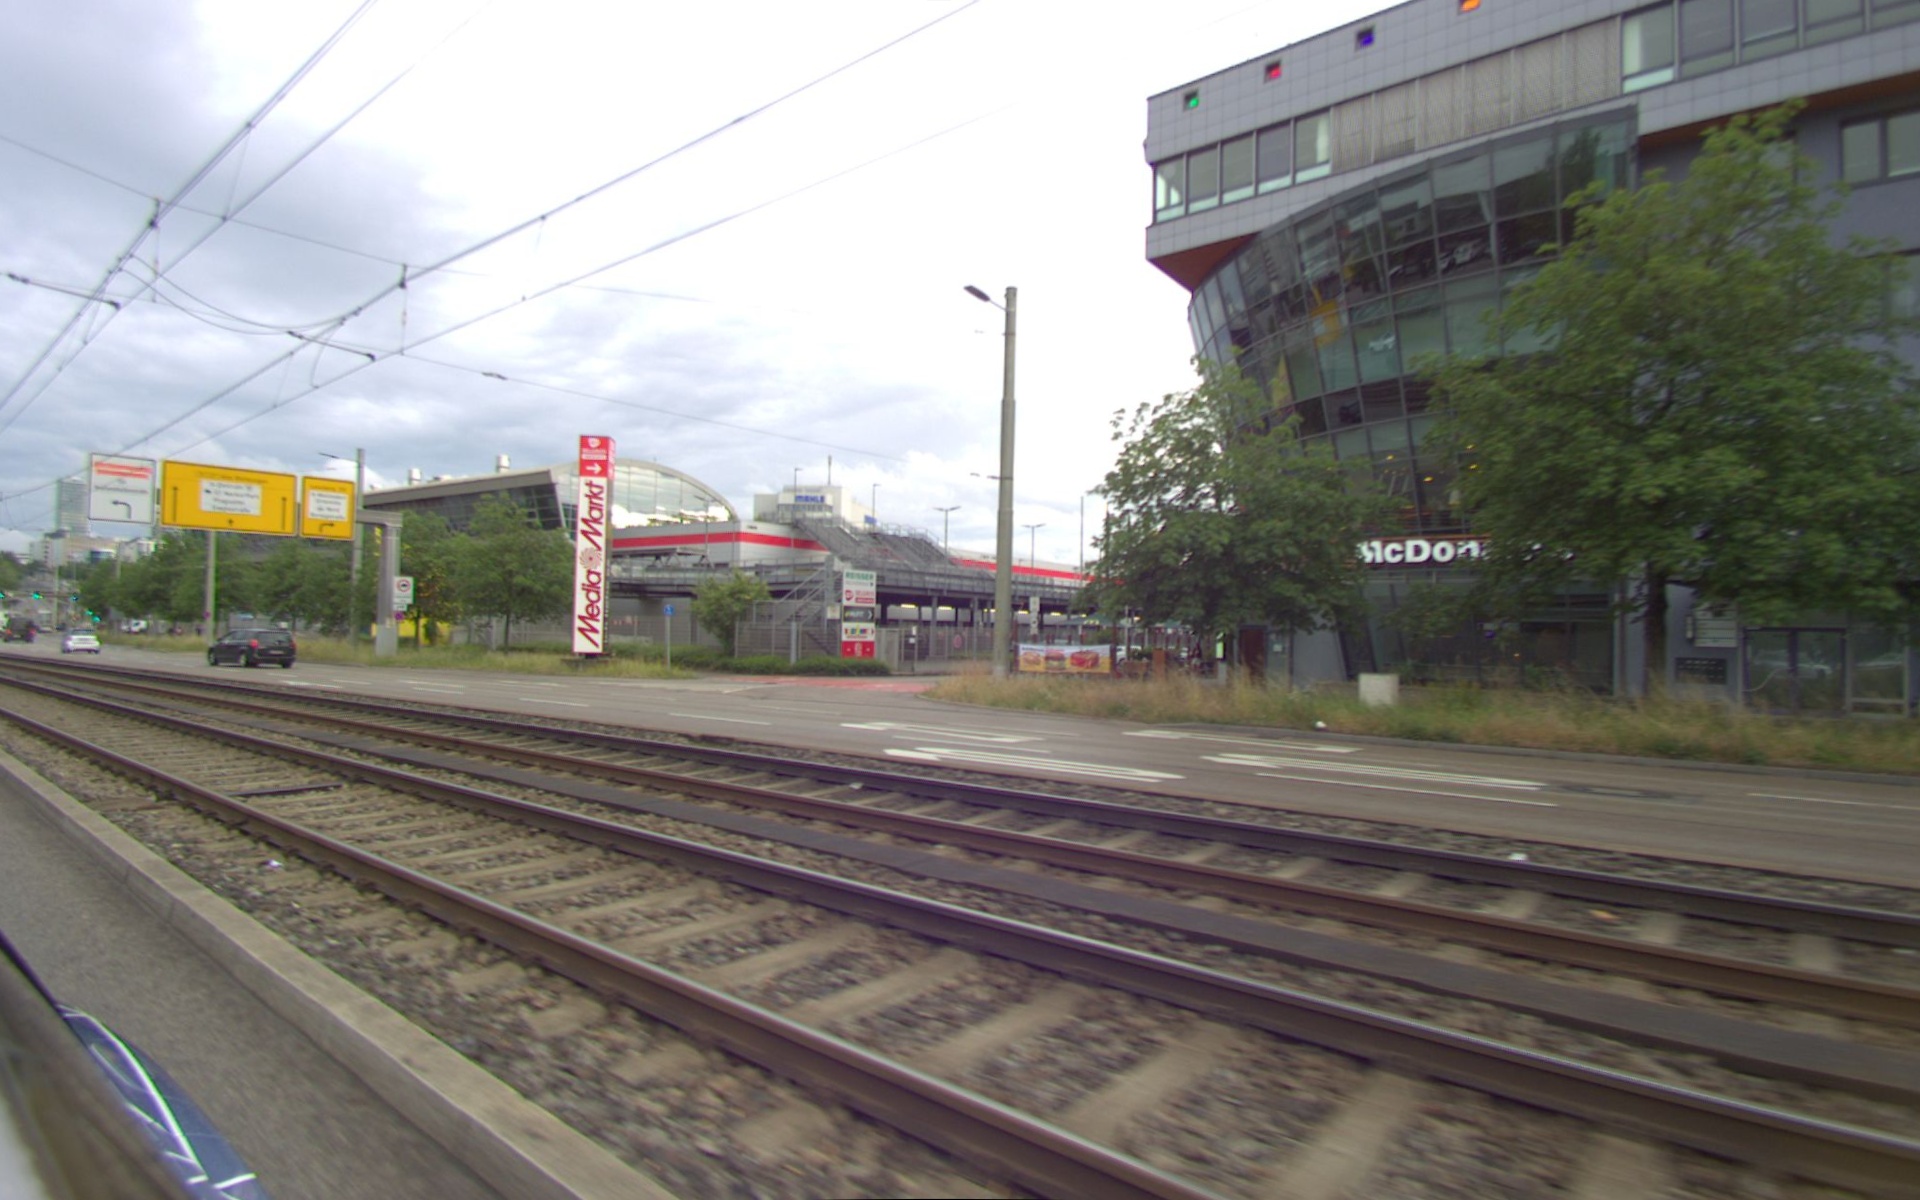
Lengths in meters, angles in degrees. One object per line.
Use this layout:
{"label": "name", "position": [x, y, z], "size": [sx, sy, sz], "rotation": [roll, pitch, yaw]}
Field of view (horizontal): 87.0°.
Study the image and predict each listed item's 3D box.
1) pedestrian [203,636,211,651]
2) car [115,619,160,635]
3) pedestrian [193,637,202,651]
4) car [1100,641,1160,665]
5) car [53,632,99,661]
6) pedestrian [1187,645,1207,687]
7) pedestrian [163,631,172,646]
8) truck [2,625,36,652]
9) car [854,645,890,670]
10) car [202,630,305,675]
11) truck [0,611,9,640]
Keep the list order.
{"label": "pedestrian", "position": [-79.787, 4.611, 107.294], "size": [0.650, 1.467, 0.448], "rotation": [-1, 0, 30]}
{"label": "car", "position": [-125.722, 4.187, 154.735], "size": [1.987, 2.350, 5.024], "rotation": [-1, -3, 23]}
{"label": "pedestrian", "position": [-80.548, 4.624, 106.928], "size": [0.650, 1.467, 0.507], "rotation": [-1, 0, 29]}
{"label": "car", "position": [11.965, 3.714, 70.989], "size": [3.965, 1.638, 1.774], "rotation": [-1, -2, 17]}
{"label": "car", "position": [-53.435, 2.803, 61.162], "size": [2.949, 1.548, 1.581], "rotation": [2, -3, 41]}
{"label": "pedestrian", "position": [9.656, 2.673, 41.206], "size": [0.579, 1.692, 0.801], "rotation": [-1, -3, 29]}
{"label": "pedestrian", "position": [-86.538, 4.190, 110.517], "size": [0.626, 1.575, 0.675], "rotation": [-1, 0, 40]}
{"label": "truck", "position": [-95.167, 3.855, 102.301], "size": [7.018, 2.584, 2.213], "rotation": [-2, -3, 45]}
{"label": "car", "position": [-5.547, 3.568, 63.379], "size": [1.636, 1.292, 4.119], "rotation": [-1, 0, -14]}
{"label": "car", "position": [-29.478, 2.201, 42.211], "size": [4.198, 1.749, 1.978], "rotation": [-2, -5, 32]}
{"label": "truck", "position": [-121.930, 3.176, 127.280], "size": [7.153, 3.383, 2.697], "rotation": [2, -3, 43]}
